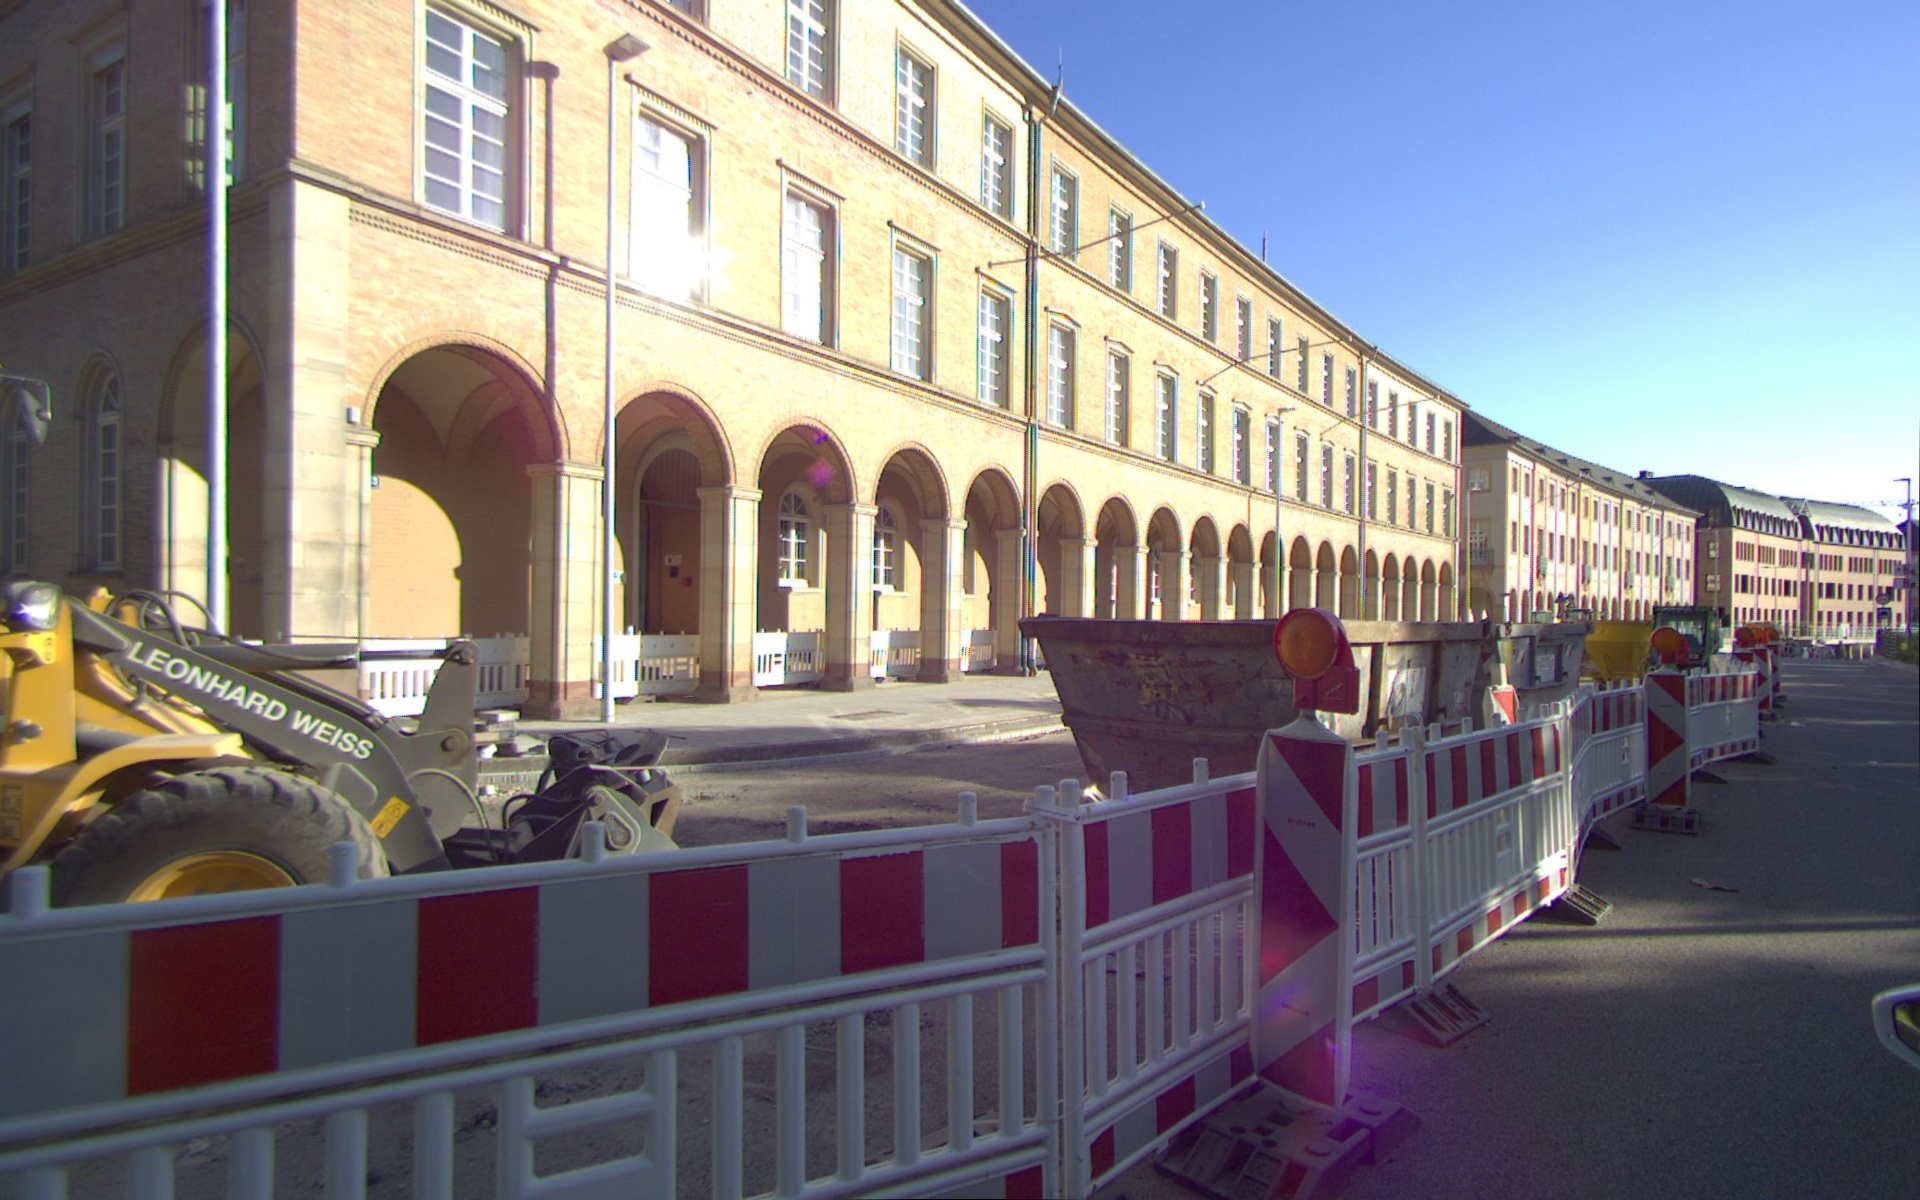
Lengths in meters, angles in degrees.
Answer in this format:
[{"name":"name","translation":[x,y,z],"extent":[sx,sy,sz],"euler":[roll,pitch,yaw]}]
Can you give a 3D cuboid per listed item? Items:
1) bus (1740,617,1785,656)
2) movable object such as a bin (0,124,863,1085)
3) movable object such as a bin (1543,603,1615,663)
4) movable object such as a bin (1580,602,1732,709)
[{"name":"bus","translation":[59.638,2.732,74.609],"extent":[2.052,2.721,4.655],"euler":[1,-3,45]},{"name":"movable object such as a bin","translation":[-3.558,0.027,4.396],"extent":[5.835,3.071,2.558],"euler":[1,-1,-17]},{"name":"movable object such as a bin","translation":[28.013,1.419,45.380],"extent":[2.051,2.508,4.592],"euler":[0,0,41]},{"name":"movable object such as a bin","translation":[14.566,1.039,20.923],"extent":[2.028,1.975,4.310],"euler":[0,0,43]}]
